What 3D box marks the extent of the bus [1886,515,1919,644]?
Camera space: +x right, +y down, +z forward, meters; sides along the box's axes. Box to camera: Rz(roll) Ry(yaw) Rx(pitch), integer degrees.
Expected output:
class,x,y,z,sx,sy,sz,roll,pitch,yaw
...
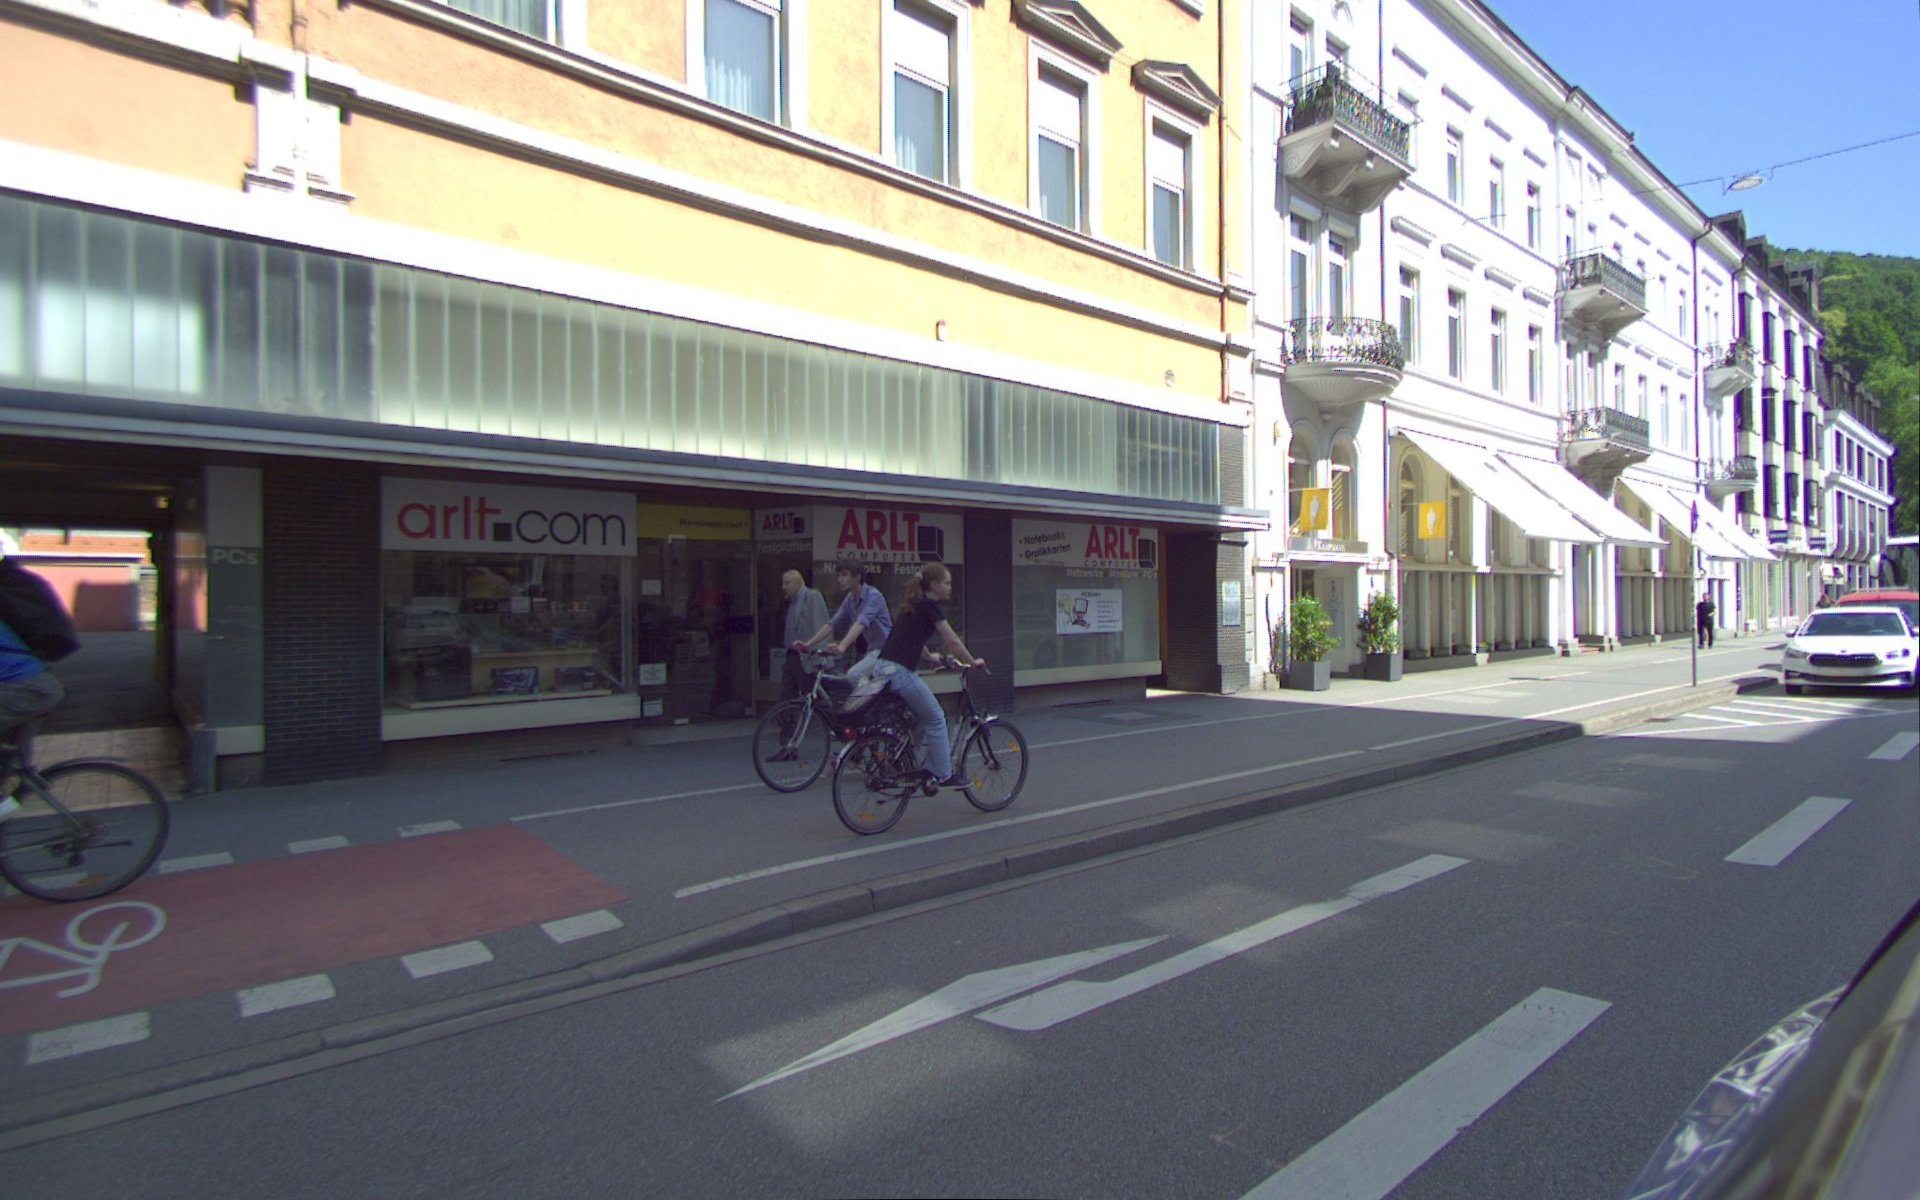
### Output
class,x,y,z,sx,sy,sz,roll,pitch,yaw
bus,31.684,-0.626,31.708,12.289,3.580,2.920,-1,1,-43

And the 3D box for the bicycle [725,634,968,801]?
class,x,y,z,sx,sy,sz,roll,pitch,yaw
bicycle,-0.874,0.876,8.202,1.885,1.132,0.747,0,0,-42

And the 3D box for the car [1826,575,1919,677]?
class,x,y,z,sx,sy,sz,roll,pitch,yaw
car,19.884,0.563,21.452,4.529,1.938,1.699,1,-6,-43

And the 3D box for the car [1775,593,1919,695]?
class,x,y,z,sx,sy,sz,roll,pitch,yaw
car,15.756,0.698,17.638,4.192,1.544,1.795,-1,-2,-43

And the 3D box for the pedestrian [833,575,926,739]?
class,x,y,z,sx,sy,sz,roll,pitch,yaw
pedestrian,-0.864,0.581,10.905,0.829,1.686,0.522,0,0,-40

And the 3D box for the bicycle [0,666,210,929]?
class,x,y,z,sx,sy,sz,roll,pitch,yaw
bicycle,-4.749,0.934,4.745,1.956,1.132,0.663,0,0,-39

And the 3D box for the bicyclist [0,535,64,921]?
class,x,y,z,sx,sy,sz,roll,pitch,yaw
bicyclist,-4.770,0.576,4.733,0.829,1.739,0.840,0,0,-40

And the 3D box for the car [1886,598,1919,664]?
class,x,y,z,sx,sy,sz,roll,pitch,yaw
car,23.828,0.707,24.413,4.340,1.506,1.865,0,-1,-43

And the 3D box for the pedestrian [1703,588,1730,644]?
class,x,y,z,sx,sy,sz,roll,pitch,yaw
pedestrian,22.967,0.472,30.730,0.853,1.689,0.482,0,-1,-41

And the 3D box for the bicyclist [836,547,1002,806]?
class,x,y,z,sx,sy,sz,roll,pitch,yaw
bicyclist,-0.276,0.461,6.771,0.829,1.593,0.747,0,0,-40

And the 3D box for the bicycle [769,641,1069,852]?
class,x,y,z,sx,sy,sz,roll,pitch,yaw
bicycle,-0.216,0.890,6.785,2.056,1.141,0.596,0,1,-39

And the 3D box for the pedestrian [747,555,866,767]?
class,x,y,z,sx,sy,sz,roll,pitch,yaw
pedestrian,-1.406,0.514,9.222,0.754,1.814,0.840,0,0,-40

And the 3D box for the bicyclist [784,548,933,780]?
class,x,y,z,sx,sy,sz,roll,pitch,yaw
bicyclist,-0.826,0.471,8.195,0.830,1.739,0.909,0,0,-43
